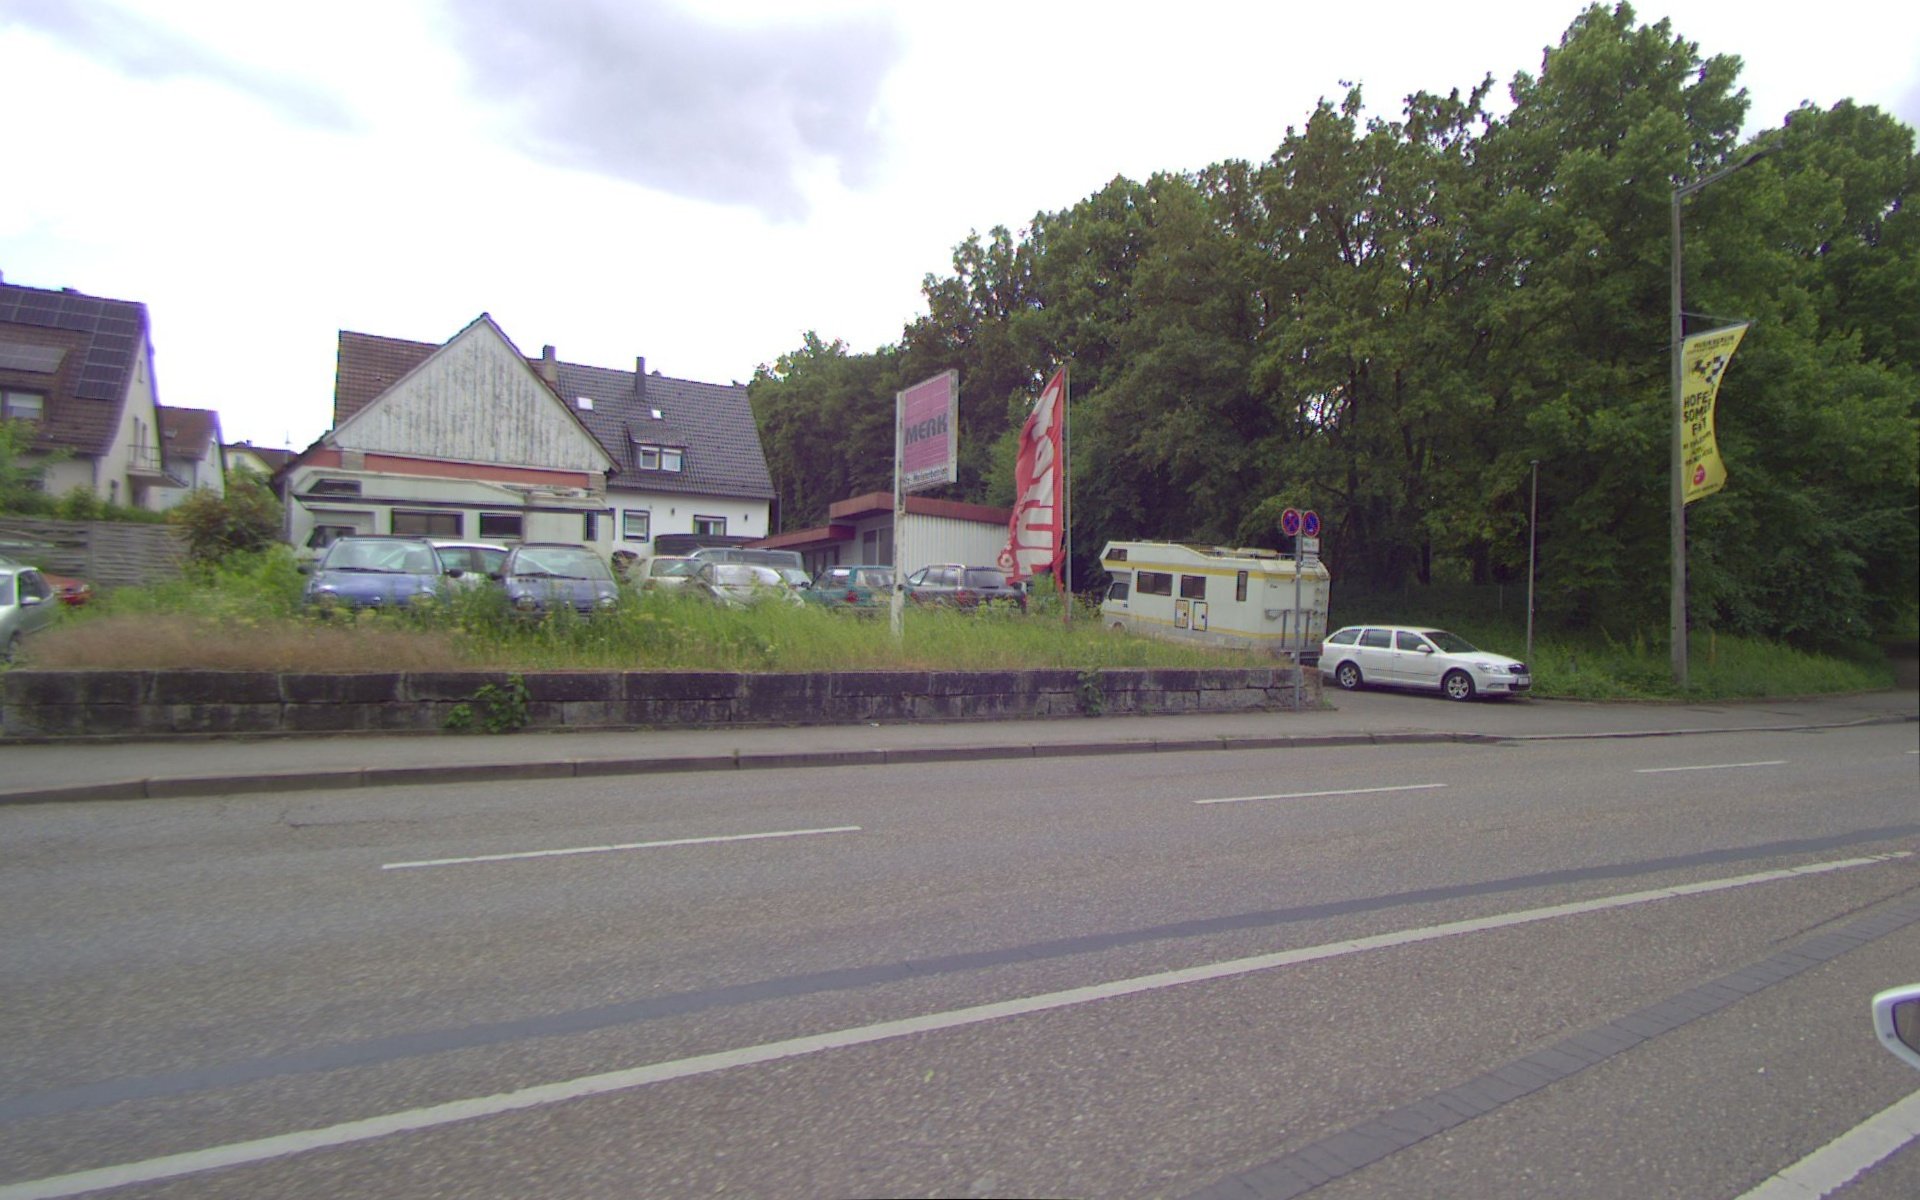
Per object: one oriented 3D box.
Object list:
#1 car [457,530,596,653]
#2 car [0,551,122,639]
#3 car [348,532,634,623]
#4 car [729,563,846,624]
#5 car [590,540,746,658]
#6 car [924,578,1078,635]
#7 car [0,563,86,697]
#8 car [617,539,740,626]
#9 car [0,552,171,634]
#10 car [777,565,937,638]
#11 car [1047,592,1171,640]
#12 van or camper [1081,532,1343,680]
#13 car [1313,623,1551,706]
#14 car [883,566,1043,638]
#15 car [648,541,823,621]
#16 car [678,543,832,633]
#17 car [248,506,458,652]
[{"bbox_3d":[-6.102,-0.105,14.057,1.513,1.429,3.975,2,0,-25],"label":"car"},{"bbox_3d":[-18.387,-0.159,18.278,4.331,1.517,1.925,3,0,-17],"label":"car"},{"bbox_3d":[-8.177,-0.317,17.651,4.353,1.359,1.837,2,-1,-33],"label":"car"},{"bbox_3d":[-4.238,-0.167,24.192,1.773,1.284,3.974,3,0,-25],"label":"car"},{"bbox_3d":[-4.536,-0.020,15.218,1.625,1.512,3.975,3,0,-25],"label":"car"},{"bbox_3d":[1.413,0.241,33.831,4.909,1.711,1.893,2,0,-29],"label":"car"},{"bbox_3d":[-15.071,0.355,15.224,1.859,1.874,3.970,2,0,-29],"label":"car"},{"bbox_3d":[-6.246,-0.362,21.991,1.908,1.650,3.974,3,0,-25],"label":"car"},{"bbox_3d":[-19.335,-0.185,20.687,4.329,1.531,1.993,3,0,-16],"label":"car"},{"bbox_3d":[-2.201,0.016,20.417,1.863,1.285,3.914,3,0,-28],"label":"car"},{"bbox_3d":[4.865,0.531,32.784,3.827,1.364,1.508,3,1,-28],"label":"car"},{"bbox_3d":[6.669,-0.034,27.879,2.763,3.416,7.106,2,4,-30],"label":"van or camper"},{"bbox_3d":[10.159,1.326,21.972,1.940,1.460,4.350,2,0,-32],"label":"car"},{"bbox_3d":[-0.035,0.030,22.024,1.973,1.388,3.974,3,0,-25],"label":"car"},{"bbox_3d":[-6.631,-0.523,29.836,4.695,2.090,1.871,3,0,-30],"label":"car"},{"bbox_3d":[-3.850,-0.202,18.365,1.892,1.397,3.827,3,0,-25],"label":"car"},{"bbox_3d":[-7.576,-0.226,12.913,1.834,1.517,3.974,3,0,-25],"label":"car"}]
